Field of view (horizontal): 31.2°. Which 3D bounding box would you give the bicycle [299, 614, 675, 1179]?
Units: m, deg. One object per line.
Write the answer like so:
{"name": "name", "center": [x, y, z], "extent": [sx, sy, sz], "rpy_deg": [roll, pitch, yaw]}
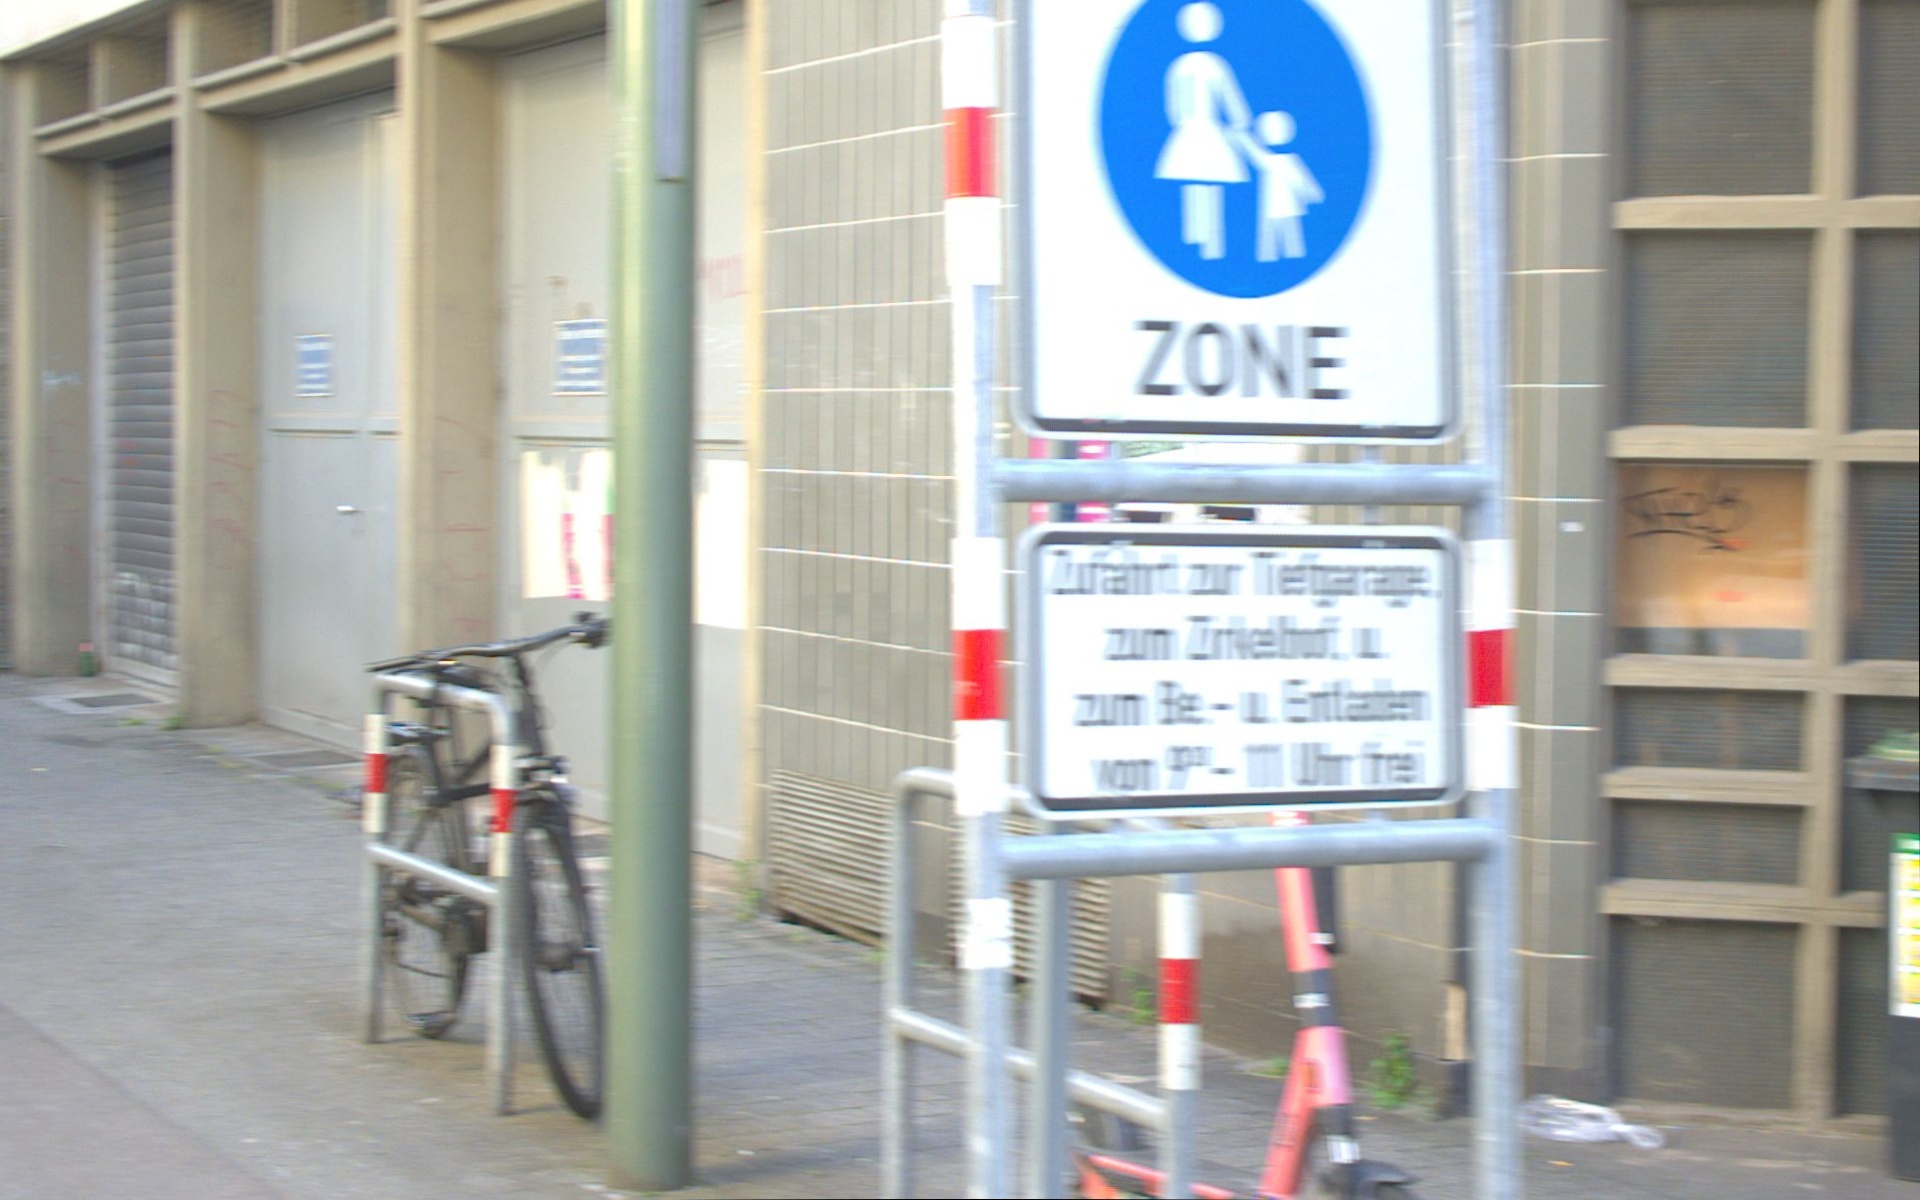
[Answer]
{"name": "bicycle", "center": [-1.154, 0.629, 8.105], "extent": [0.446, 1.136, 1.710], "rpy_deg": [0, 1, -23]}

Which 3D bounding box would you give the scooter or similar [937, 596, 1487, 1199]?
{"name": "scooter or similar", "center": [0.414, 0.643, 6.178], "extent": [0.307, 1.248, 1.239], "rpy_deg": [-1, 3, -31]}

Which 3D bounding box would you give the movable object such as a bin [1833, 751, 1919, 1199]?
{"name": "movable object such as a bin", "center": [2.087, 0.800, 7.078], "extent": [0.540, 0.920, 0.513], "rpy_deg": [1, 3, 15]}
